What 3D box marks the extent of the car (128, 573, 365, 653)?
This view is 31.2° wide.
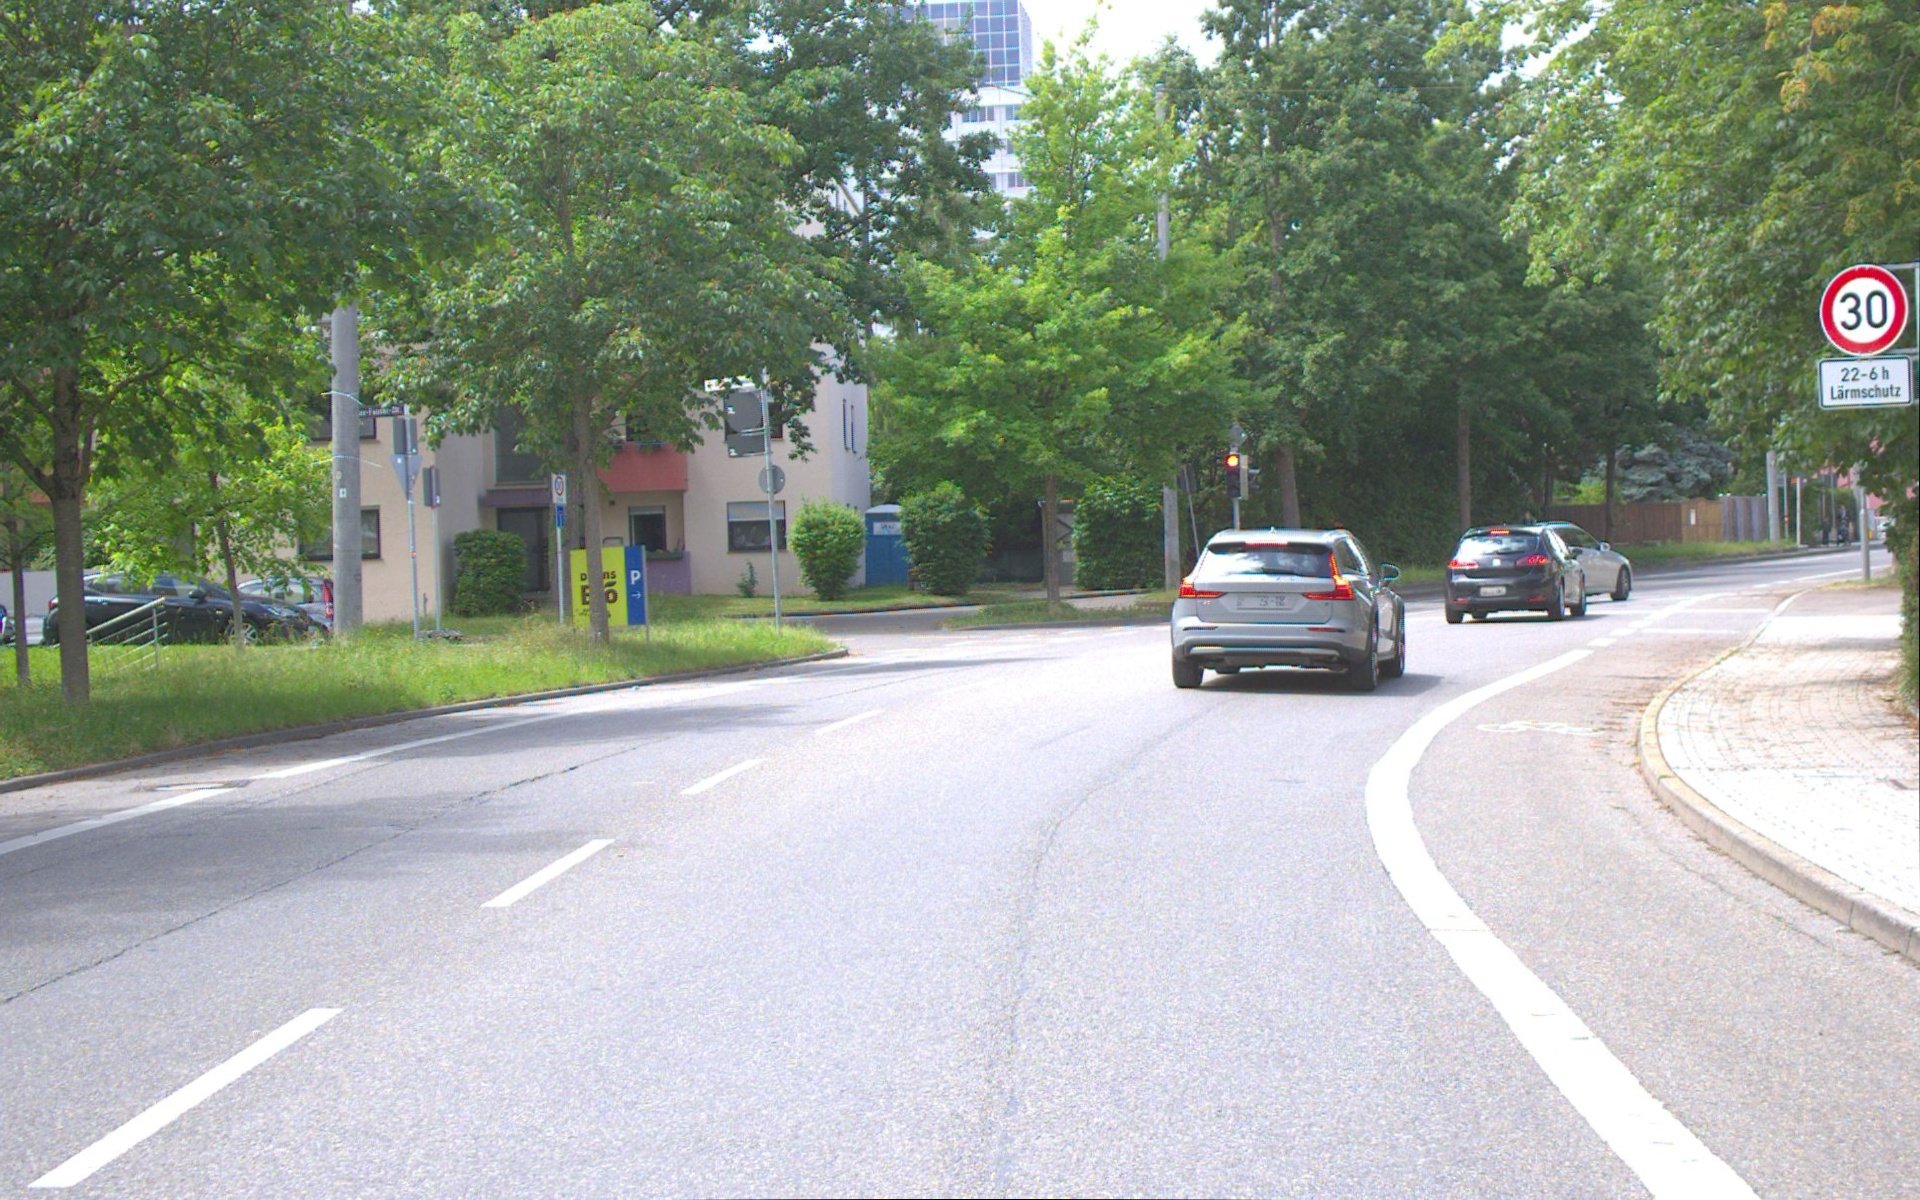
[{"bbox_3d":[-13.492,0.256,65.160,4.078,1.395,1.794,-1,-3,3],"label":"car"}]

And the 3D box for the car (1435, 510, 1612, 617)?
[{"bbox_3d":[8.609,-0.586,52.232,1.806,1.518,4.325,2,2,21],"label":"car"}]

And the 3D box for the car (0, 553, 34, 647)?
[{"bbox_3d":[-17.656,0.061,56.706,4.176,1.518,1.901,-2,1,3],"label":"car"}]

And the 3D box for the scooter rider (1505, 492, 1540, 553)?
[{"bbox_3d":[16.177,-2.233,98.901,0.705,1.721,0.680,-1,0,-22],"label":"scooter rider"}]

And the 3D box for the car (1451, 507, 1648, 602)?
[{"bbox_3d":[10.719,-0.803,62.314,1.808,1.611,4.320,2,1,35],"label":"car"}]

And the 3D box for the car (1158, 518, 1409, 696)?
[{"bbox_3d":[3.161,0.008,32.861,1.957,1.518,4.327,2,2,11],"label":"car"}]

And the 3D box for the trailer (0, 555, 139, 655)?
[{"bbox_3d":[-17.787,0.109,65.462,3.906,1.793,1.630,-1,-3,1],"label":"trailer"}]

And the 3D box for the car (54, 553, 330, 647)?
[{"bbox_3d":[-12.522,0.017,56.206,4.078,1.395,1.794,-1,-3,3],"label":"car"}]
